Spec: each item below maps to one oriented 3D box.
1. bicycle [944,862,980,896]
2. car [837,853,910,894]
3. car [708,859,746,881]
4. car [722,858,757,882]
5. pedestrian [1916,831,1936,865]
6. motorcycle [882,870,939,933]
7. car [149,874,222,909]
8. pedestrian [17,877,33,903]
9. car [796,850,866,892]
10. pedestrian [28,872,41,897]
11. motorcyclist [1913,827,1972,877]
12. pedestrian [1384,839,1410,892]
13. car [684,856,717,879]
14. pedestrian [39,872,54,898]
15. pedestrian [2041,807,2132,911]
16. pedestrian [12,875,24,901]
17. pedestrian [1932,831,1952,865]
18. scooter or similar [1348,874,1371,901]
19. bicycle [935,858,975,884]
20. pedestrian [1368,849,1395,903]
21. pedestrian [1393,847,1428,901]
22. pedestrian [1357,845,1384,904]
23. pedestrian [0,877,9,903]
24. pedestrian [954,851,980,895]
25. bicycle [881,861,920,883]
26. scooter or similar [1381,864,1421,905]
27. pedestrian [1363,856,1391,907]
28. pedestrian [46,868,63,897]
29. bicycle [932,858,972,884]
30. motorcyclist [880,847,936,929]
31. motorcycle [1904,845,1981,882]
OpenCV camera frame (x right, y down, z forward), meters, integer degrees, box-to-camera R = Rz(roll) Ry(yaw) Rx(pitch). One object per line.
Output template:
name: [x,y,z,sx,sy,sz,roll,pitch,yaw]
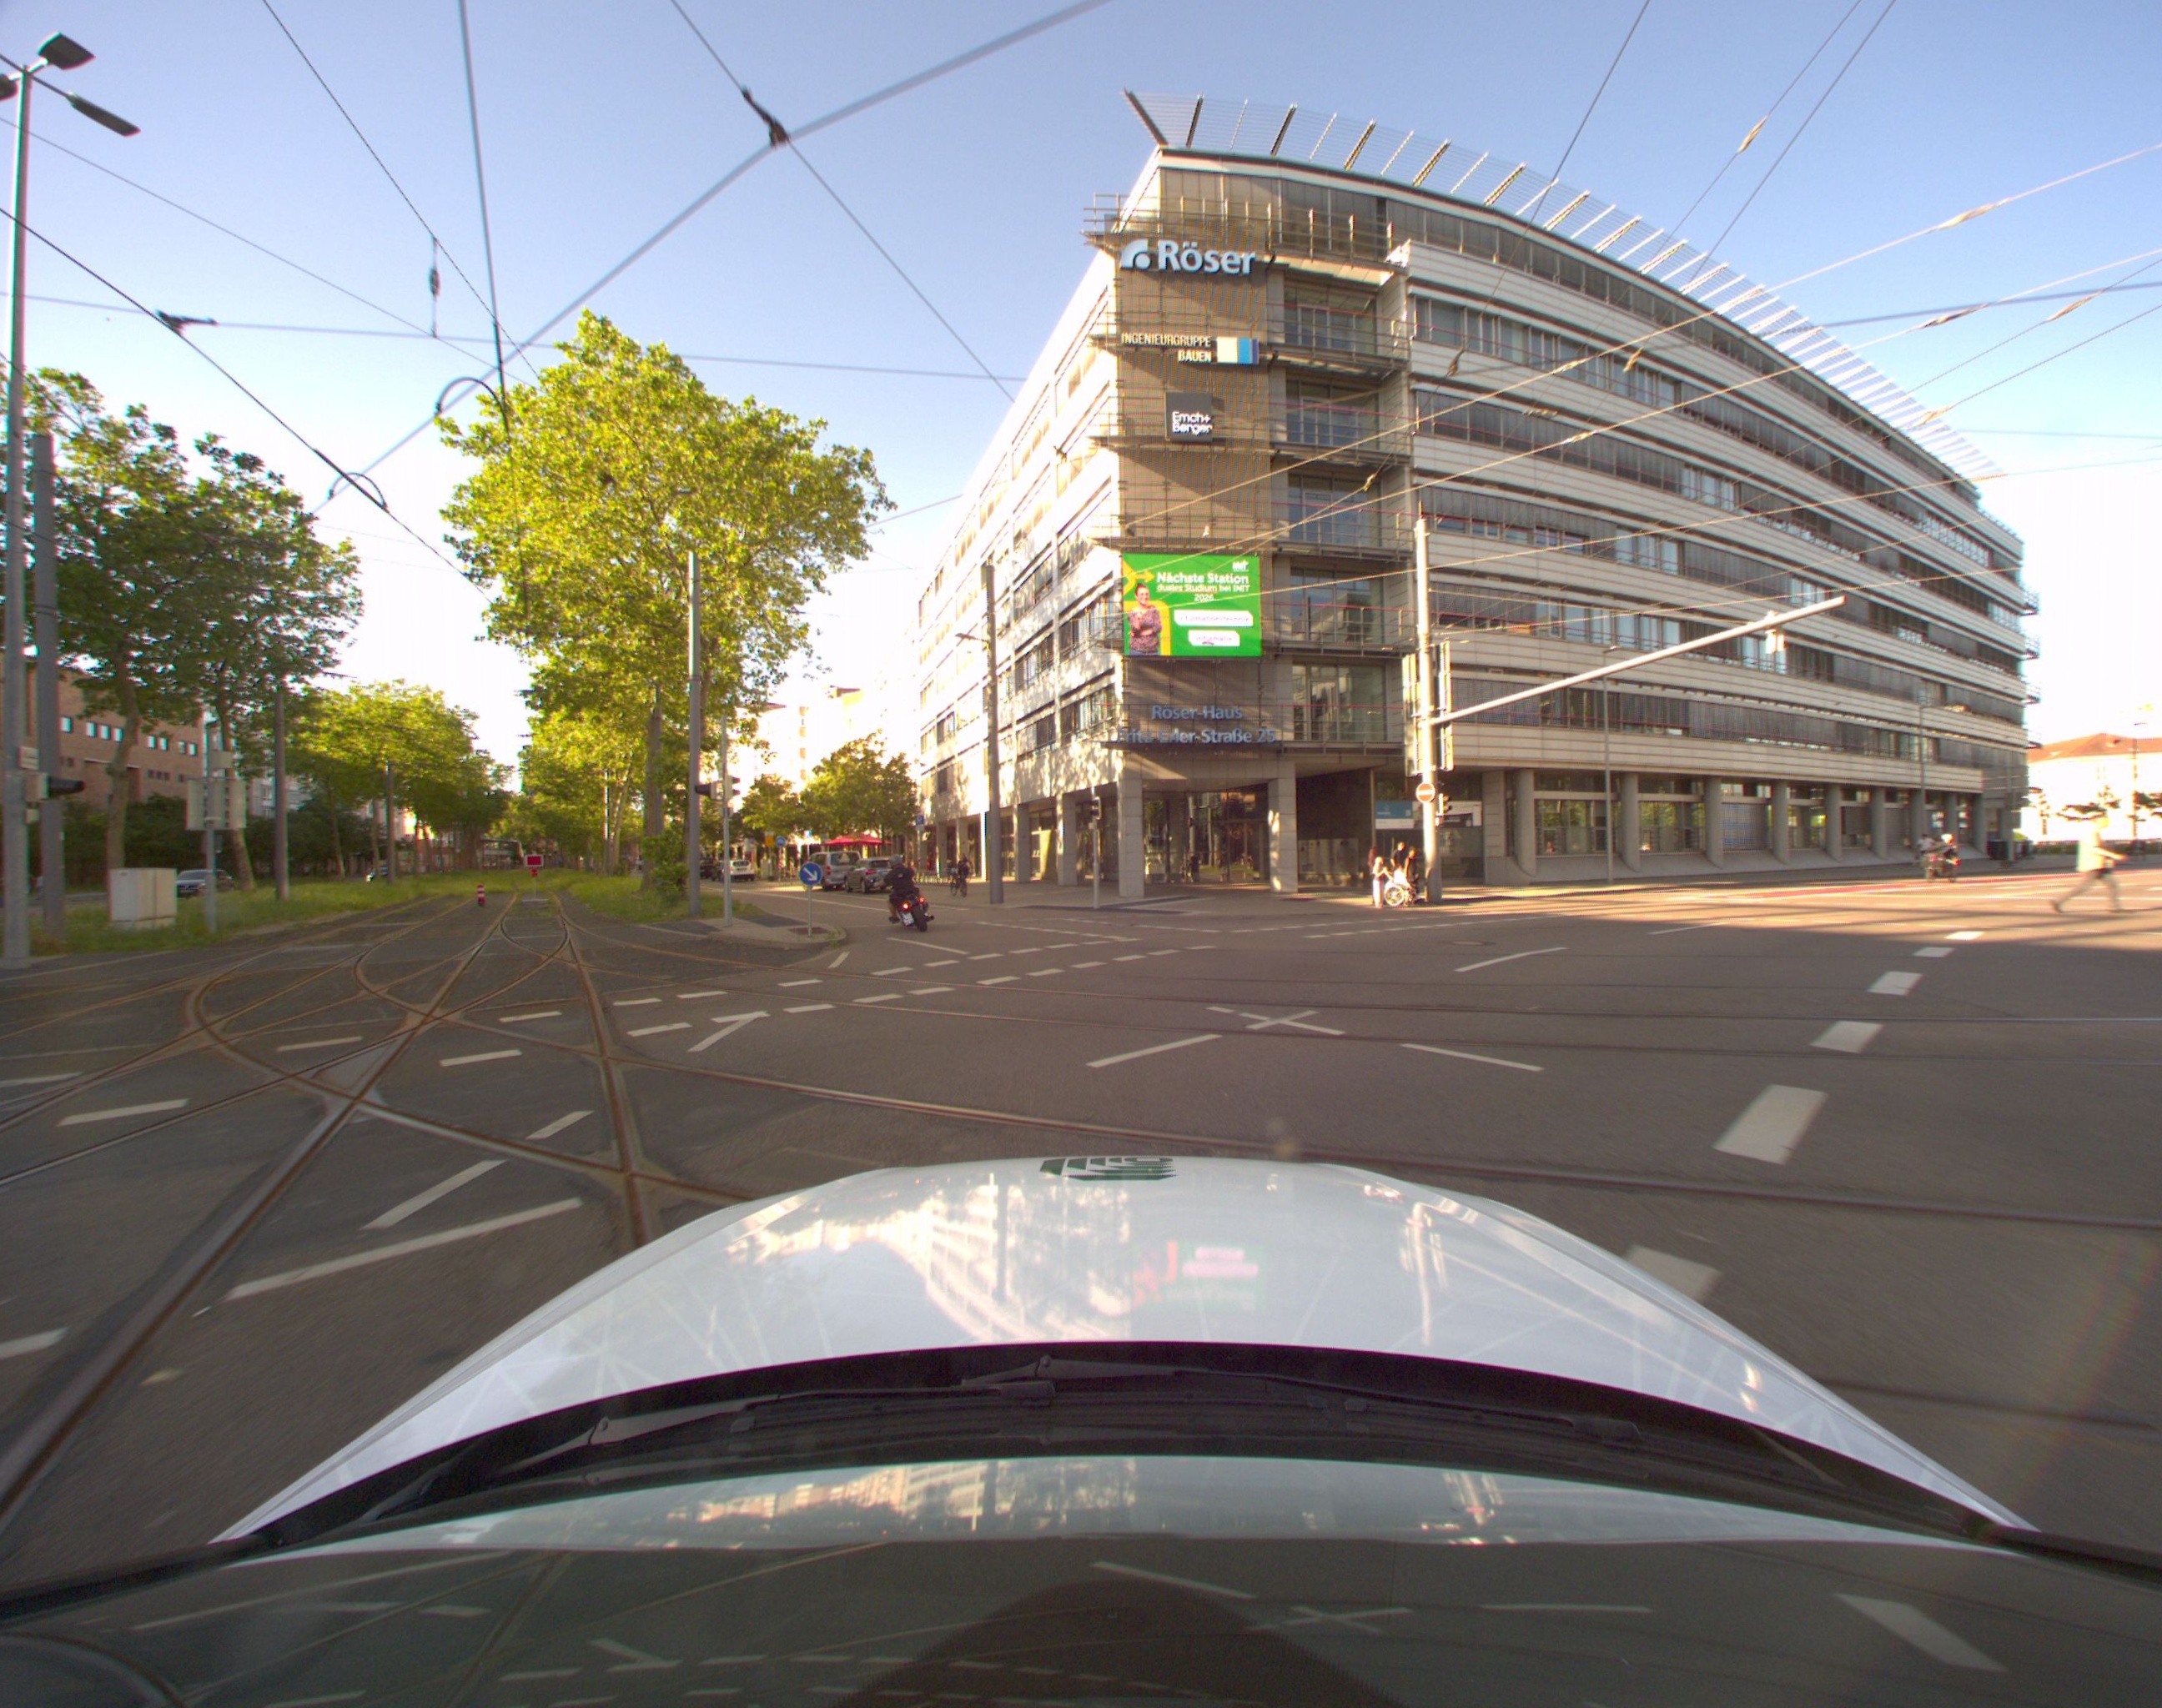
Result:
bicycle: [-4.493,0.927,30.716,0.615,1.163,1.830,-5,3,-31]
car: [-9.224,0.830,35.976,1.871,1.572,4.371,-4,1,-30]
car: [-28.355,1.244,65.189,2.002,1.629,4.042,-3,1,-34]
car: [-25.298,1.161,60.204,1.871,1.638,3.830,-2,0,-31]
pedestrian: [44.482,-0.312,42.855,0.643,1.733,0.545,-2,0,-29]
motorcycle: [-3.470,0.914,16.428,1.007,1.125,2.312,-1,0,-14]
car: [-47.224,1.942,43.041,1.837,1.562,4.293,-1,1,-37]
pedestrian: [-59.943,2.051,46.228,0.393,1.416,0.454,-1,0,-27]
car: [-12.479,0.801,40.435,1.936,1.843,4.873,-4,1,-34]
pedestrian: [-61.029,1.766,47.479,0.320,1.457,0.338,-1,0,-27]
motorcyclist: [30.964,-0.075,29.261,1.463,1.731,1.014,-1,0,-24]
pedestrian: [10.499,0.376,27.047,0.637,1.715,0.694,-1,0,33]
car: [-34.919,1.234,74.720,2.045,1.976,4.368,-3,1,-34]
pedestrian: [-60.616,1.810,47.717,0.367,1.523,0.419,-1,0,-26]
pedestrian: [18.263,0.092,14.805,0.679,1.823,0.877,-1,-2,-30]
pedestrian: [-61.596,1.953,47.192,0.294,1.457,0.313,-1,0,-27]
pedestrian: [44.766,-0.305,42.339,0.643,1.733,0.545,-2,0,-29]
scooter or similar: [8.574,1.022,25.048,0.610,0.790,0.663,0,1,24]
bicycle: [-6.067,0.813,39.302,1.844,1.151,0.466,-3,1,-29]
pedestrian: [9.107,0.640,24.679,0.695,1.600,0.663,0,1,24]
pedestrian: [10.043,0.594,24.835,0.656,1.617,0.717,-1,0,-26]
pedestrian: [8.485,0.591,23.870,0.630,1.708,0.585,-1,0,26]
pedestrian: [-60.669,2.015,45.770,0.366,1.420,0.329,-1,0,-26]
pedestrian: [-4.316,0.697,30.890,0.609,1.610,0.829,-5,3,-32]
bicycle: [-9.501,0.957,42.836,1.881,1.101,0.732,-1,0,-37]
scooter or similar: [9.224,0.872,23.504,1.006,1.129,0.553,-2,0,26]
pedestrian: [8.301,0.763,22.832,0.630,1.402,0.549,-1,0,26]
pedestrian: [-60.899,1.704,48.316,0.438,1.704,0.476,-1,0,-26]
bicycle: [-6.291,0.807,39.719,1.844,1.151,0.466,-3,1,-29]
motorcyclist: [-3.497,0.653,16.412,1.024,1.552,1.280,-1,1,-15]
motorcycle: [30.970,0.342,29.264,2.947,1.232,0.979,-1,0,-24]
